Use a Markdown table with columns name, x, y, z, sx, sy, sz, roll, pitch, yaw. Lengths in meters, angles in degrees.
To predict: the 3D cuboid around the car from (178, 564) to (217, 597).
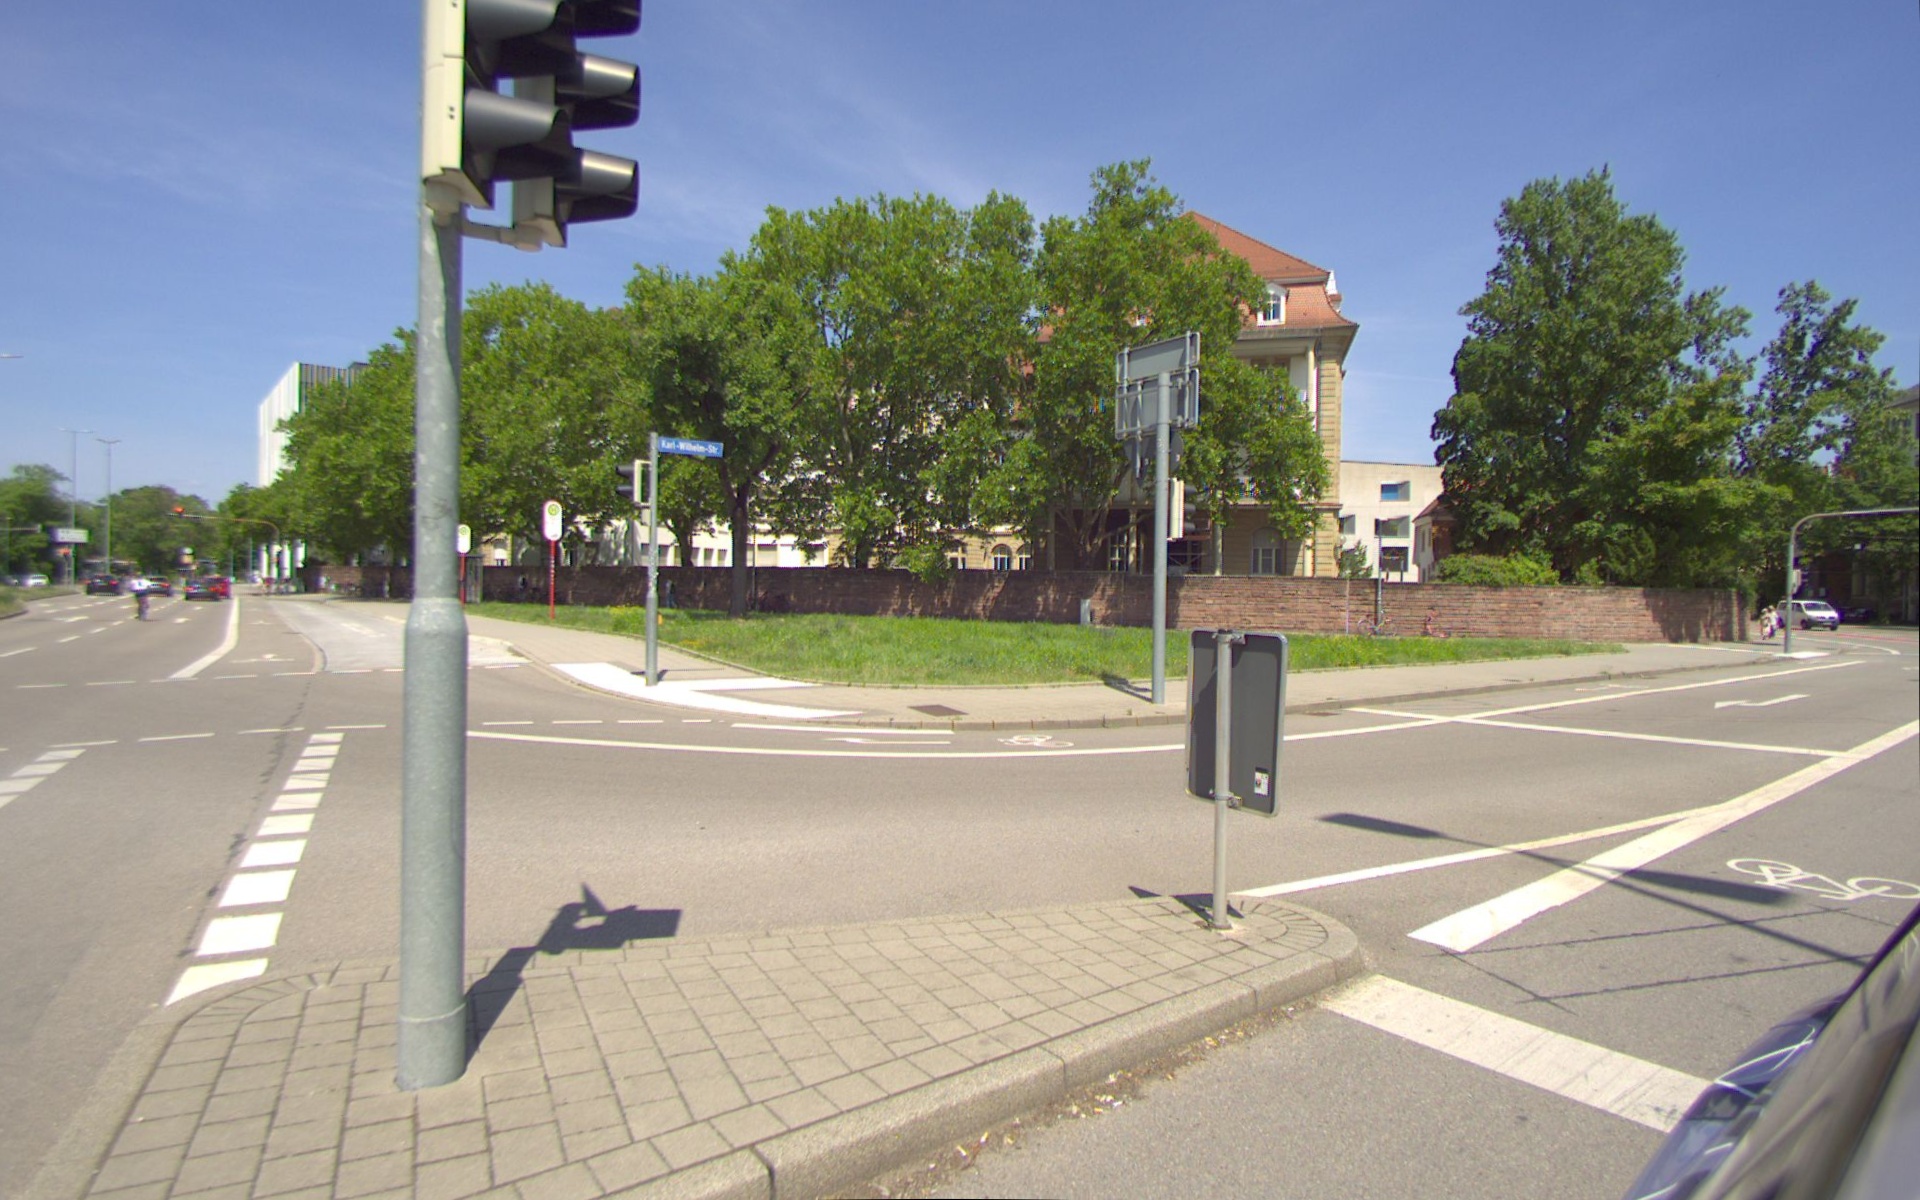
| name | x | y | z | sx | sy | sz | roll | pitch | yaw |
| --- | --- | --- | --- | --- | --- | --- | --- | --- | --- |
| car | -49.930 | -1.259 | 66.264 | 1.963 | 2.039 | 4.210 | 0 | -1 | -38 |

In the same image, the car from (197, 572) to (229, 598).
| name | x | y | z | sx | sy | sz | roll | pitch | yaw |
| --- | --- | --- | --- | --- | --- | --- | --- | --- | --- |
| car | -52.991 | -1.019 | 71.832 | 1.748 | 1.705 | 3.998 | 0 | -1 | -36 |

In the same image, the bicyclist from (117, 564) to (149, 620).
| name | x | y | z | sx | sy | sz | roll | pitch | yaw |
| --- | --- | --- | --- | --- | --- | --- | --- | --- | --- |
| bicyclist | -28.626 | -0.259 | 35.046 | 1.134 | 1.911 | 0.698 | -2 | -1 | 42 |

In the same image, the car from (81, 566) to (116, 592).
| name | x | y | z | sx | sy | sz | roll | pitch | yaw |
| --- | --- | --- | --- | --- | --- | --- | --- | --- | --- |
| car | -59.360 | -1.428 | 69.779 | 1.747 | 1.690 | 3.994 | 0 | -1 | -40 |

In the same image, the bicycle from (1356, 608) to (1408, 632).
| name | x | y | z | sx | sy | sz | roll | pitch | yaw |
| --- | --- | --- | --- | --- | --- | --- | --- | --- | --- |
| bicycle | 16.718 | 0.794 | 40.135 | 1.744 | 0.940 | 0.678 | -1 | -1 | 6 |

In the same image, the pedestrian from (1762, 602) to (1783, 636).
| name | x | y | z | sx | sy | sz | roll | pitch | yaw |
| --- | --- | --- | --- | --- | --- | --- | --- | --- | --- |
| pedestrian | 40.441 | 0.933 | 50.389 | 0.597 | 1.631 | 0.555 | 3 | 0 | 19 |

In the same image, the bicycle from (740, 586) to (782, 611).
| name | x | y | z | sx | sy | sz | roll | pitch | yaw |
| --- | --- | --- | --- | --- | --- | --- | --- | --- | --- |
| bicycle | -9.707 | -0.082 | 49.381 | 2.145 | 1.197 | 0.454 | -1 | -1 | 24 |

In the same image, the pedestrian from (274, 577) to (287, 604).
| name | x | y | z | sx | sy | sz | roll | pitch | yaw |
| --- | --- | --- | --- | --- | --- | --- | --- | --- | --- |
| pedestrian | -53.353 | -0.744 | 79.449 | 0.775 | 2.039 | 0.839 | 0 | -1 | -39 |

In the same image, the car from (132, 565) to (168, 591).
| name | x | y | z | sx | sy | sz | roll | pitch | yaw |
| --- | --- | --- | --- | --- | --- | --- | --- | --- | --- |
| car | -57.099 | -1.504 | 71.394 | 1.748 | 1.705 | 3.998 | 0 | -1 | -36 |

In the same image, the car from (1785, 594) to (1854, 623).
| name | x | y | z | sx | sy | sz | roll | pitch | yaw |
| --- | --- | --- | --- | --- | --- | --- | --- | --- | --- |
| car | 59.063 | 0.587 | 69.654 | 1.682 | 1.887 | 4.245 | -1 | -1 | 11 |

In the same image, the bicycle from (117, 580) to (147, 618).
| name | x | y | z | sx | sy | sz | roll | pitch | yaw |
| --- | --- | --- | --- | --- | --- | --- | --- | --- | --- |
| bicycle | -28.686 | -0.025 | 35.043 | 2.184 | 1.253 | 0.513 | -1 | -1 | 43 |

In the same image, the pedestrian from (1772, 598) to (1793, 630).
| name | x | y | z | sx | sy | sz | roll | pitch | yaw |
| --- | --- | --- | --- | --- | --- | --- | --- | --- | --- |
| pedestrian | 42.202 | 0.708 | 51.950 | 0.597 | 1.631 | 0.555 | 3 | 0 | 19 |

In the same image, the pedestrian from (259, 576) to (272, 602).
| name | x | y | z | sx | sy | sz | roll | pitch | yaw |
| --- | --- | --- | --- | --- | --- | --- | --- | --- | --- |
| pedestrian | -54.049 | -0.853 | 78.774 | 0.775 | 2.039 | 0.963 | 0 | -1 | -39 |

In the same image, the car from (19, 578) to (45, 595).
| name | x | y | z | sx | sy | sz | roll | pitch | yaw |
| --- | --- | --- | --- | --- | --- | --- | --- | --- | --- |
| car | -99.193 | -1.387 | 108.212 | 1.705 | 1.708 | 3.911 | 0 | -1 | -38 |

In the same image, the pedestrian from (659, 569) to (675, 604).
| name | x | y | z | sx | sy | sz | roll | pitch | yaw |
| --- | --- | --- | --- | --- | --- | --- | --- | --- | --- |
| pedestrian | -14.803 | -0.679 | 51.127 | 0.521 | 1.743 | 0.584 | -1 | -1 | 26 |

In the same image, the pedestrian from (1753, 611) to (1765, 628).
| name | x | y | z | sx | sy | sz | roll | pitch | yaw |
| --- | --- | --- | --- | --- | --- | --- | --- | --- | --- |
| pedestrian | 77.604 | 1.896 | 98.307 | 0.715 | 1.691 | 0.640 | 1 | 0 | 21 |

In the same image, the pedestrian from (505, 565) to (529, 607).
| name | x | y | z | sx | sy | sz | roll | pitch | yaw |
| --- | --- | --- | --- | --- | --- | --- | --- | --- | --- |
| pedestrian | -25.141 | -0.777 | 57.413 | 1.067 | 2.320 | 0.839 | -1 | -1 | 33 |

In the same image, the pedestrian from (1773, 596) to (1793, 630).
| name | x | y | z | sx | sy | sz | roll | pitch | yaw |
| --- | --- | --- | --- | --- | --- | --- | --- | --- | --- |
| pedestrian | 43.608 | 0.699 | 53.617 | 0.597 | 1.734 | 0.555 | 3 | 0 | 18 |

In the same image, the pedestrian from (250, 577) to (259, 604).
| name | x | y | z | sx | sy | sz | roll | pitch | yaw |
| --- | --- | --- | --- | --- | --- | --- | --- | --- | --- |
| pedestrian | -54.340 | -0.748 | 77.961 | 0.540 | 2.039 | 0.536 | 0 | -1 | -38 |
